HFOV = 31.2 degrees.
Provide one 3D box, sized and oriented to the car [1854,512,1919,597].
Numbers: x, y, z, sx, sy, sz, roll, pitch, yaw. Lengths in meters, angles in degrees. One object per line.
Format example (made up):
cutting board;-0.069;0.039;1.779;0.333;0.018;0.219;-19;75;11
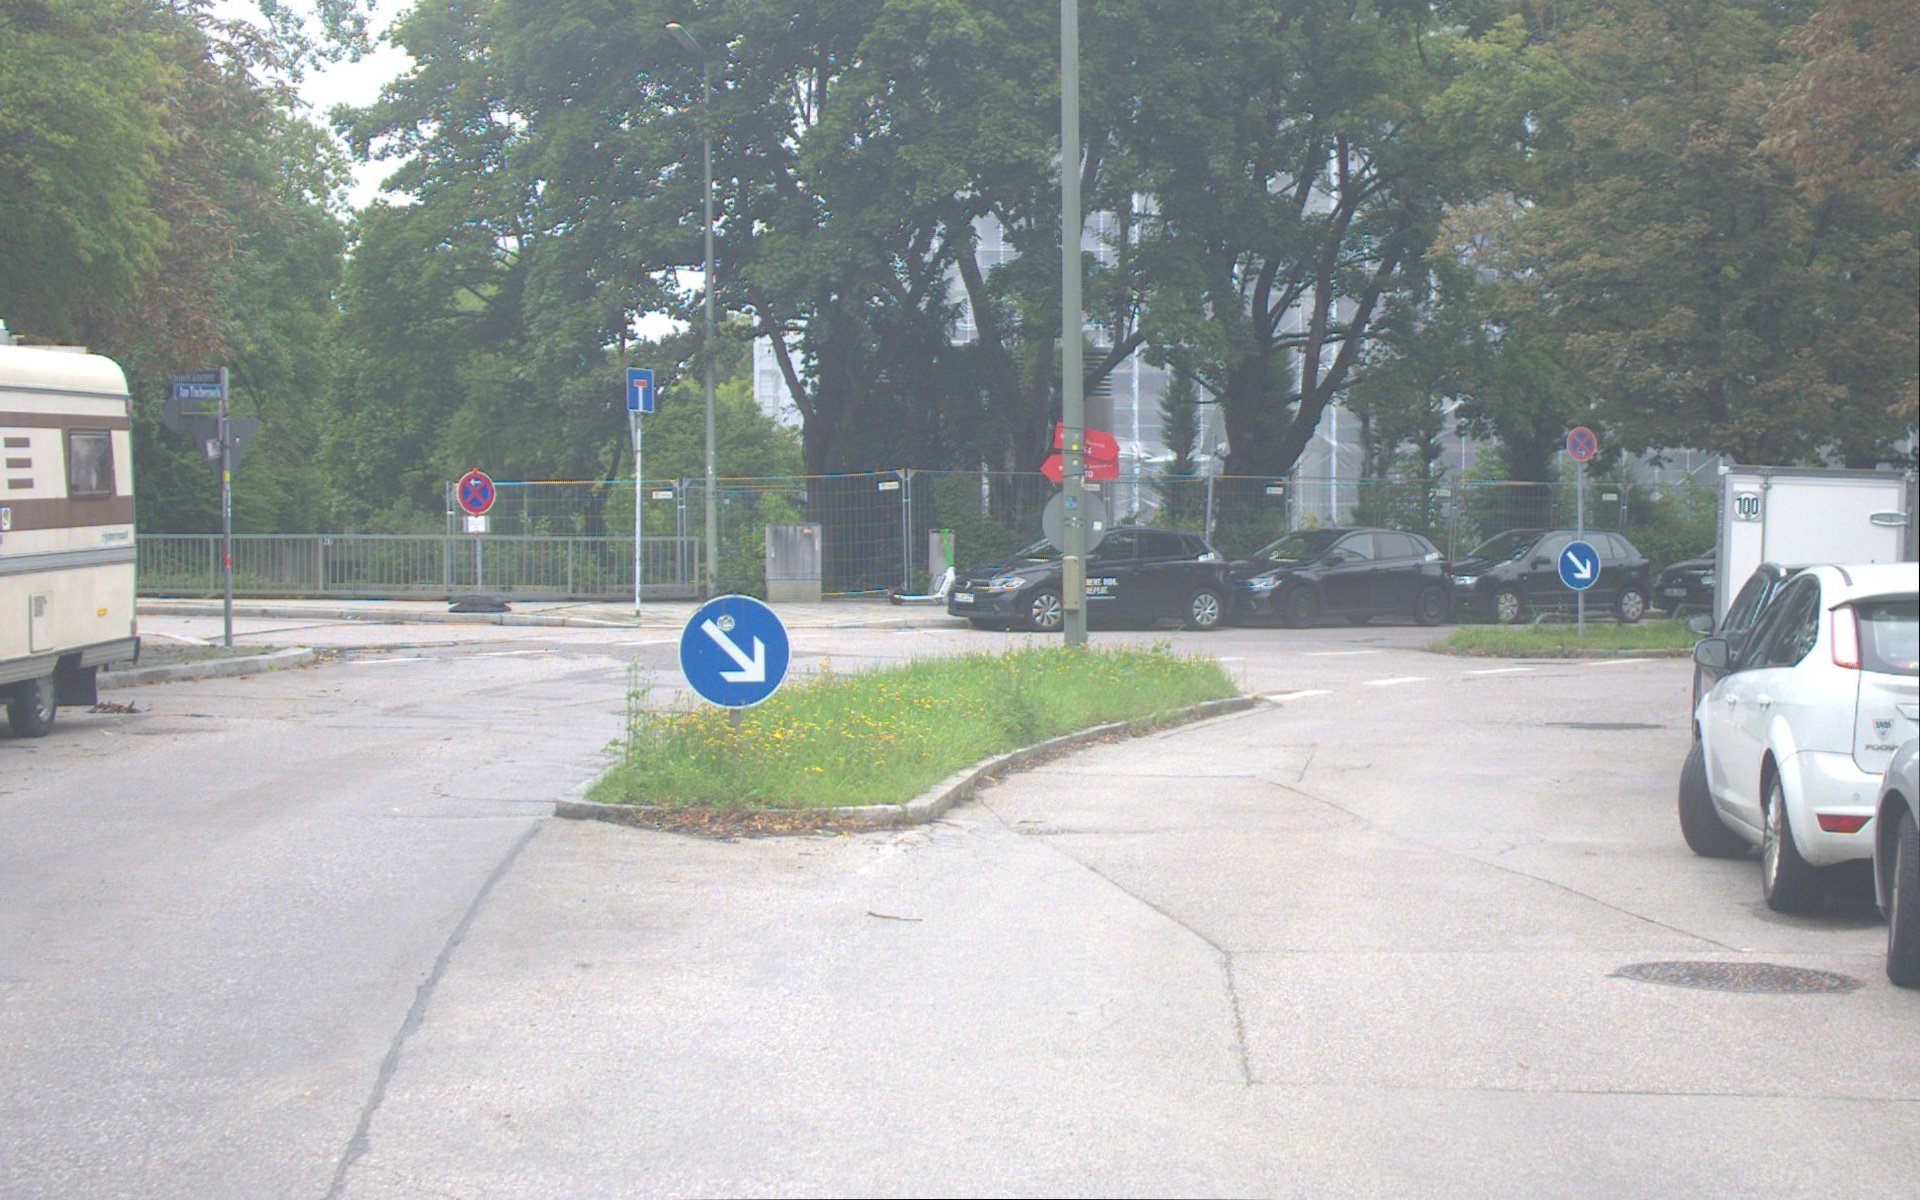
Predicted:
car;17.180;-0.777;57.633;4.204;1.379;1.802;-1;1;-31

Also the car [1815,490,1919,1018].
car;4.148;0.541;10.320;1.993;1.722;4.450;1;1;0

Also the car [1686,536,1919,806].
car;5.523;0.356;21.168;1.872;1.432;4.327;-1;2;10

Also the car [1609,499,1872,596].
car;12.507;-0.859;55.041;3.993;1.456;1.840;-2;2;-33

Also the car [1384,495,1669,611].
car;8.647;-0.727;52.430;3.987;1.700;2.000;-1;1;-33

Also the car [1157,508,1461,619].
car;5.031;-0.555;49.509;3.987;1.535;2.000;-1;2;-33

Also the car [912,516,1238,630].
car;1.582;-0.397;47.189;4.029;1.427;2.000;-1;4;-33

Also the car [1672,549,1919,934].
car;4.377;0.529;15.655;1.767;1.481;4.220;0;1;5

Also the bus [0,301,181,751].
bus;-6.841;-0.470;21.611;2.315;2.689;5.734;0;2;3

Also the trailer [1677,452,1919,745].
trailer;6.723;-0.057;26.067;1.811;2.007;4.829;0;1;20
